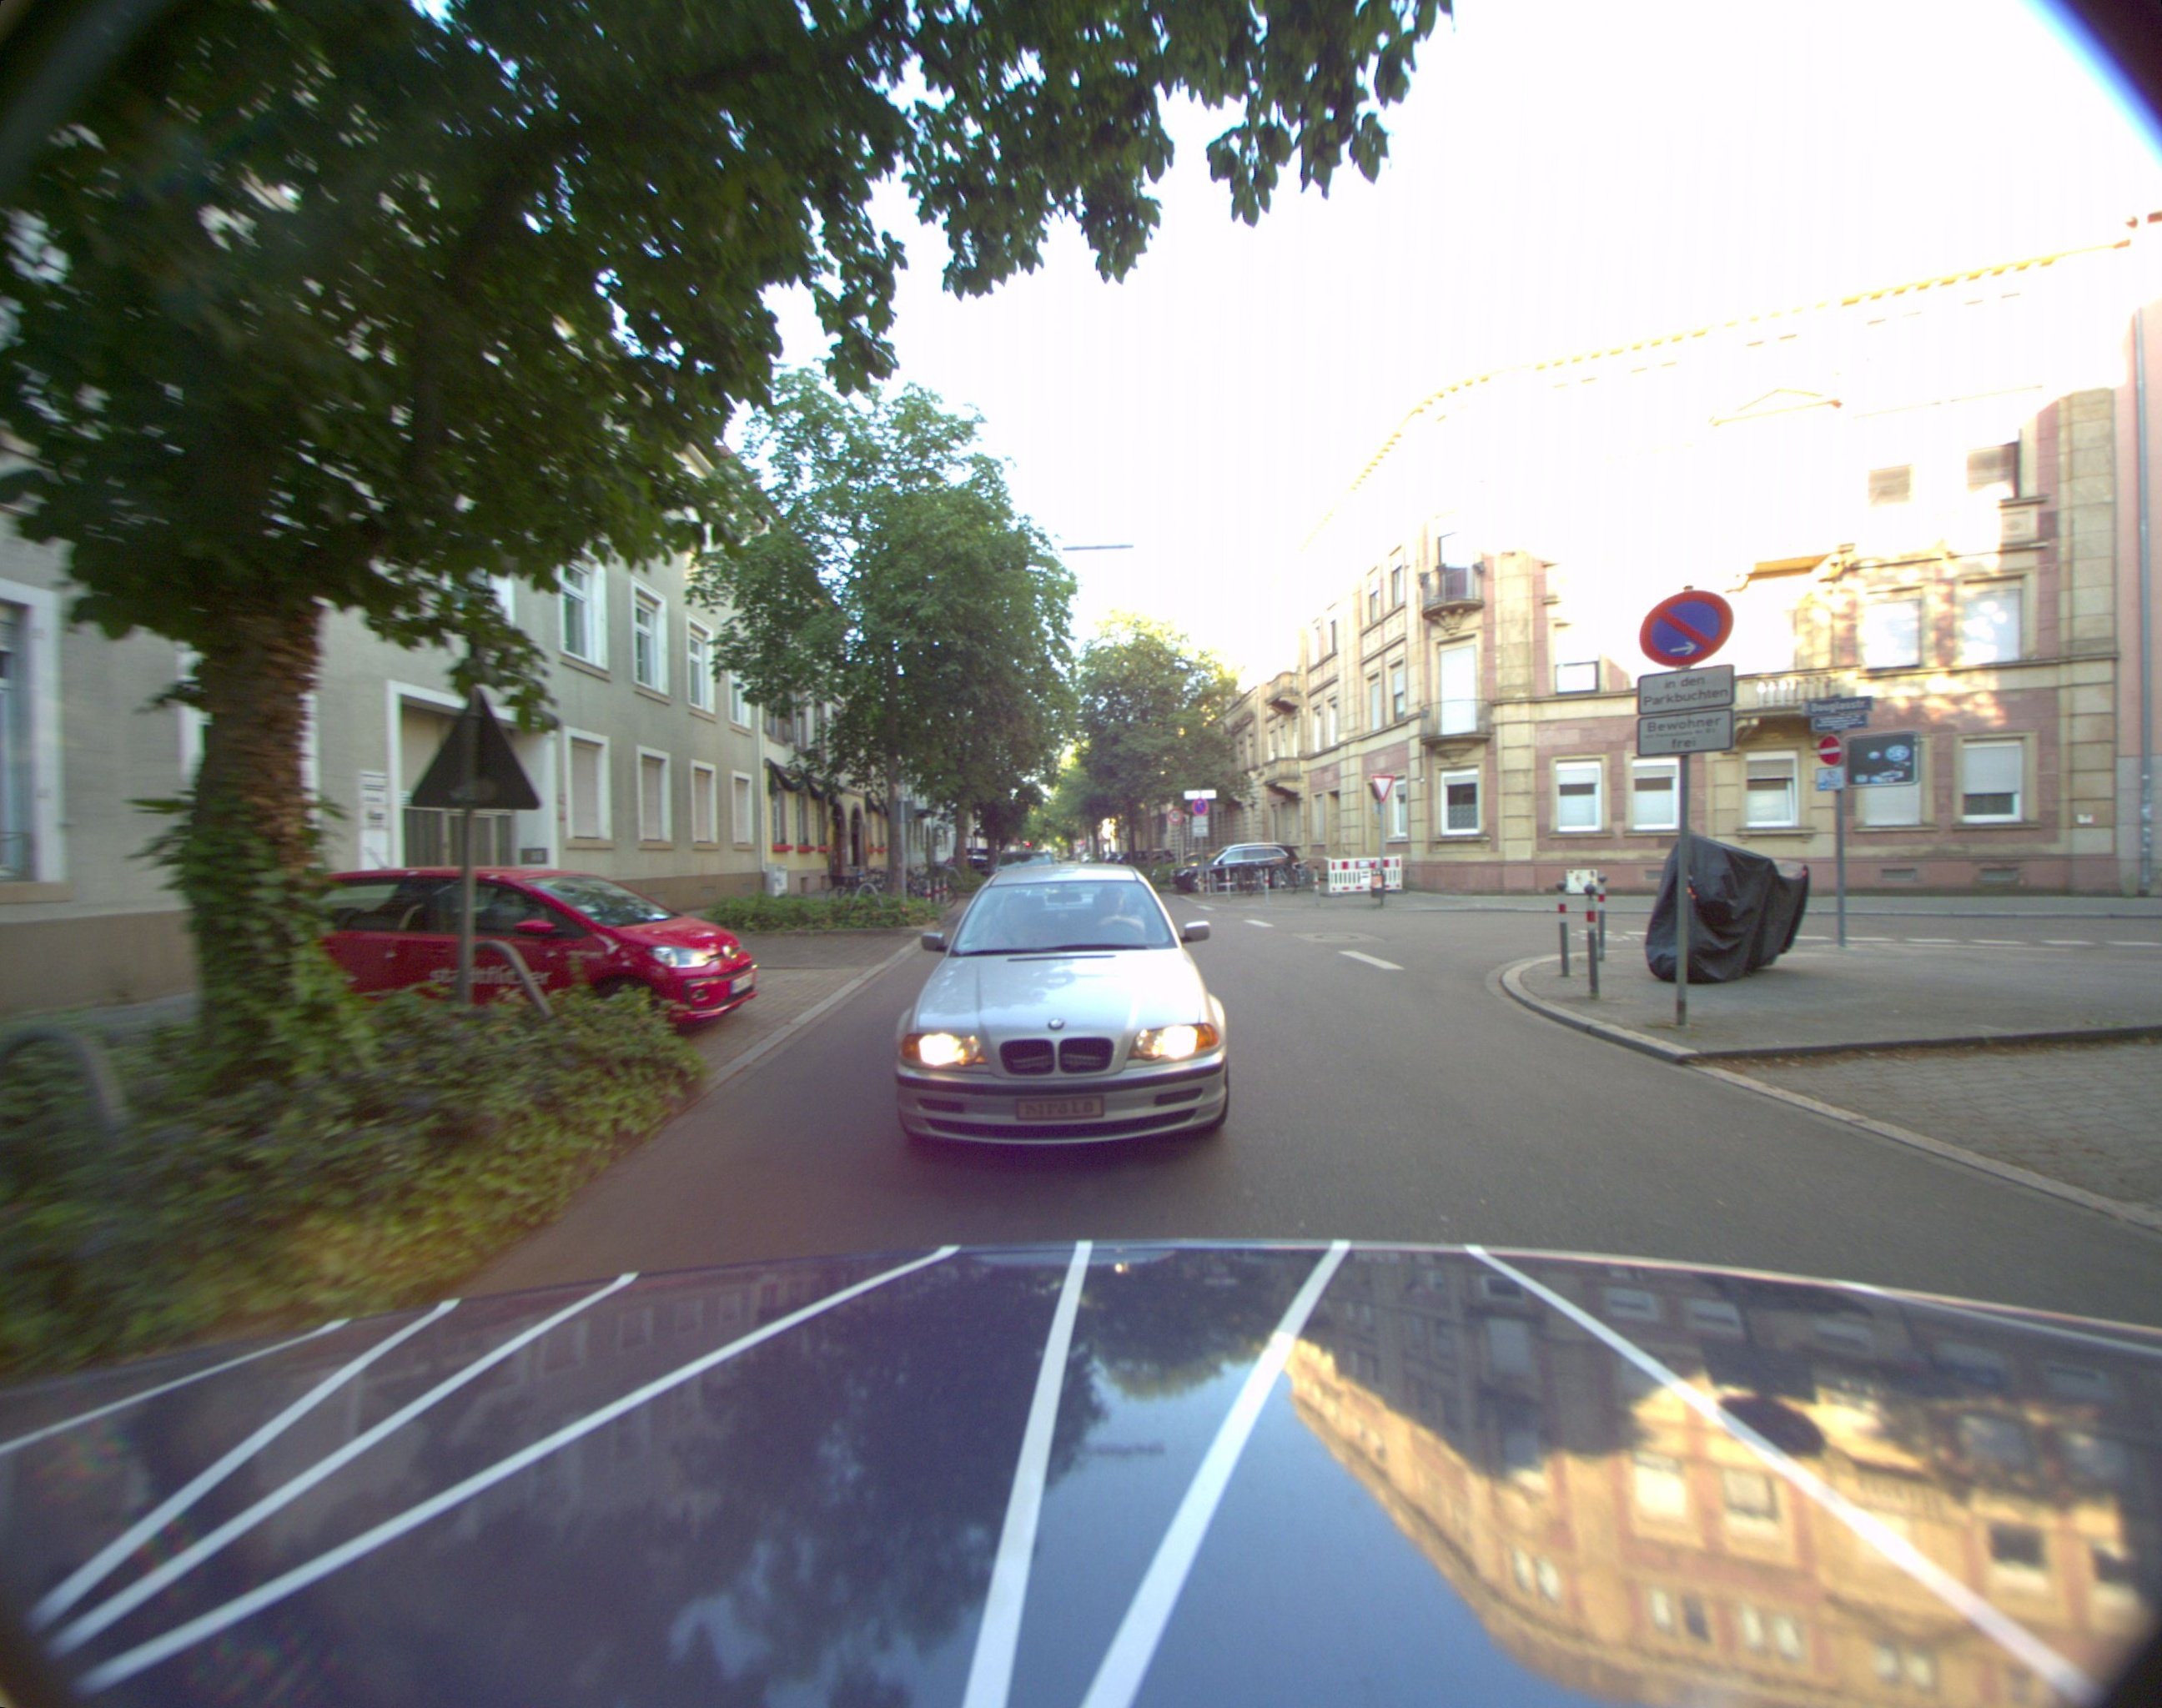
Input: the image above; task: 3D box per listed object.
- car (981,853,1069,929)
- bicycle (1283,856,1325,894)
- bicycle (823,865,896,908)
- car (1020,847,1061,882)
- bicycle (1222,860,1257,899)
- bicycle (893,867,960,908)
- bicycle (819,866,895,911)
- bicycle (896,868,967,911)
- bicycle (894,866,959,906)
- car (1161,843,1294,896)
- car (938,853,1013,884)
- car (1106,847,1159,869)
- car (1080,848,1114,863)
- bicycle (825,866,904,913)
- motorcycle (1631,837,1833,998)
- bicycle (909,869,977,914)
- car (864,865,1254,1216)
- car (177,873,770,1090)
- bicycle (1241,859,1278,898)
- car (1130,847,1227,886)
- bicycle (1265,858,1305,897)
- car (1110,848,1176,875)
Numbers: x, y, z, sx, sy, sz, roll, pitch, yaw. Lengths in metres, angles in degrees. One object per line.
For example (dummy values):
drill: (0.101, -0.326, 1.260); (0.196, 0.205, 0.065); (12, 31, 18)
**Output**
car: (-1.211, 0.770, 17.975); (1.806, 1.543, 3.999); (-1, 1, -1)
bicycle: (7.095, 0.649, 24.269); (0.562, 1.144, 2.039); (-1, 1, -5)
bicycle: (-6.610, 0.953, 22.777); (2.029, 1.220, 0.535); (-1, 1, -10)
car: (-1.872, 0.471, 36.222); (1.806, 1.543, 3.999); (-1, 1, -2)
bicycle: (5.039, 0.794, 24.220); (0.562, 1.144, 2.039); (-1, 1, -3)
bicycle: (-4.855, 1.048, 24.008); (2.029, 1.220, 0.535); (-1, 1, -8)
bicycle: (-6.351, 0.963, 21.615); (2.029, 1.220, 0.535); (-1, 1, -13)
bicycle: (-4.458, 1.056, 22.704); (2.029, 1.220, 0.535); (-1, 1, -8)
bicycle: (-5.050, 1.040, 24.890); (2.029, 1.220, 0.535); (-1, 1, -8)
car: (5.180, 0.516, 27.231); (4.422, 1.771, 1.742); (-1, 1, 0)
car: (-6.176, 0.851, 44.861); (4.244, 1.729, 1.741); (-1, 1, -3)
car: (4.246, 0.286, 63.513); (4.244, 1.749, 1.741); (-1, 1, -1)
car: (2.013, 0.182, 95.365); (4.244, 1.749, 1.741); (-1, 1, -1)
bicycle: (-5.929, 0.960, 20.889); (2.029, 1.220, 0.535); (-1, 1, -13)
motorcycle: (6.936, 0.591, 8.068); (2.286, 1.496, 0.816); (-1, 1, -27)
bicycle: (-3.901, 1.042, 21.432); (1.849, 1.220, 0.535); (-1, 1, -13)
car: (-0.072, 0.871, 5.609); (1.711, 1.434, 4.435); (-1, 1, 1)
car: (-4.825, 0.960, 6.501); (3.620, 1.468, 1.664); (-1, 1, -4)
bicycle: (5.680, 0.750, 24.254); (0.562, 1.144, 2.039); (-1, 1, -3)
car: (4.381, 0.552, 34.697); (4.242, 1.668, 1.742); (-1, 1, 2)
bicycle: (6.474, 0.729, 24.254); (0.562, 1.144, 2.039); (-1, 1, -5)
car: (4.128, 0.487, 51.030); (4.244, 1.749, 1.741); (-1, 1, -1)
